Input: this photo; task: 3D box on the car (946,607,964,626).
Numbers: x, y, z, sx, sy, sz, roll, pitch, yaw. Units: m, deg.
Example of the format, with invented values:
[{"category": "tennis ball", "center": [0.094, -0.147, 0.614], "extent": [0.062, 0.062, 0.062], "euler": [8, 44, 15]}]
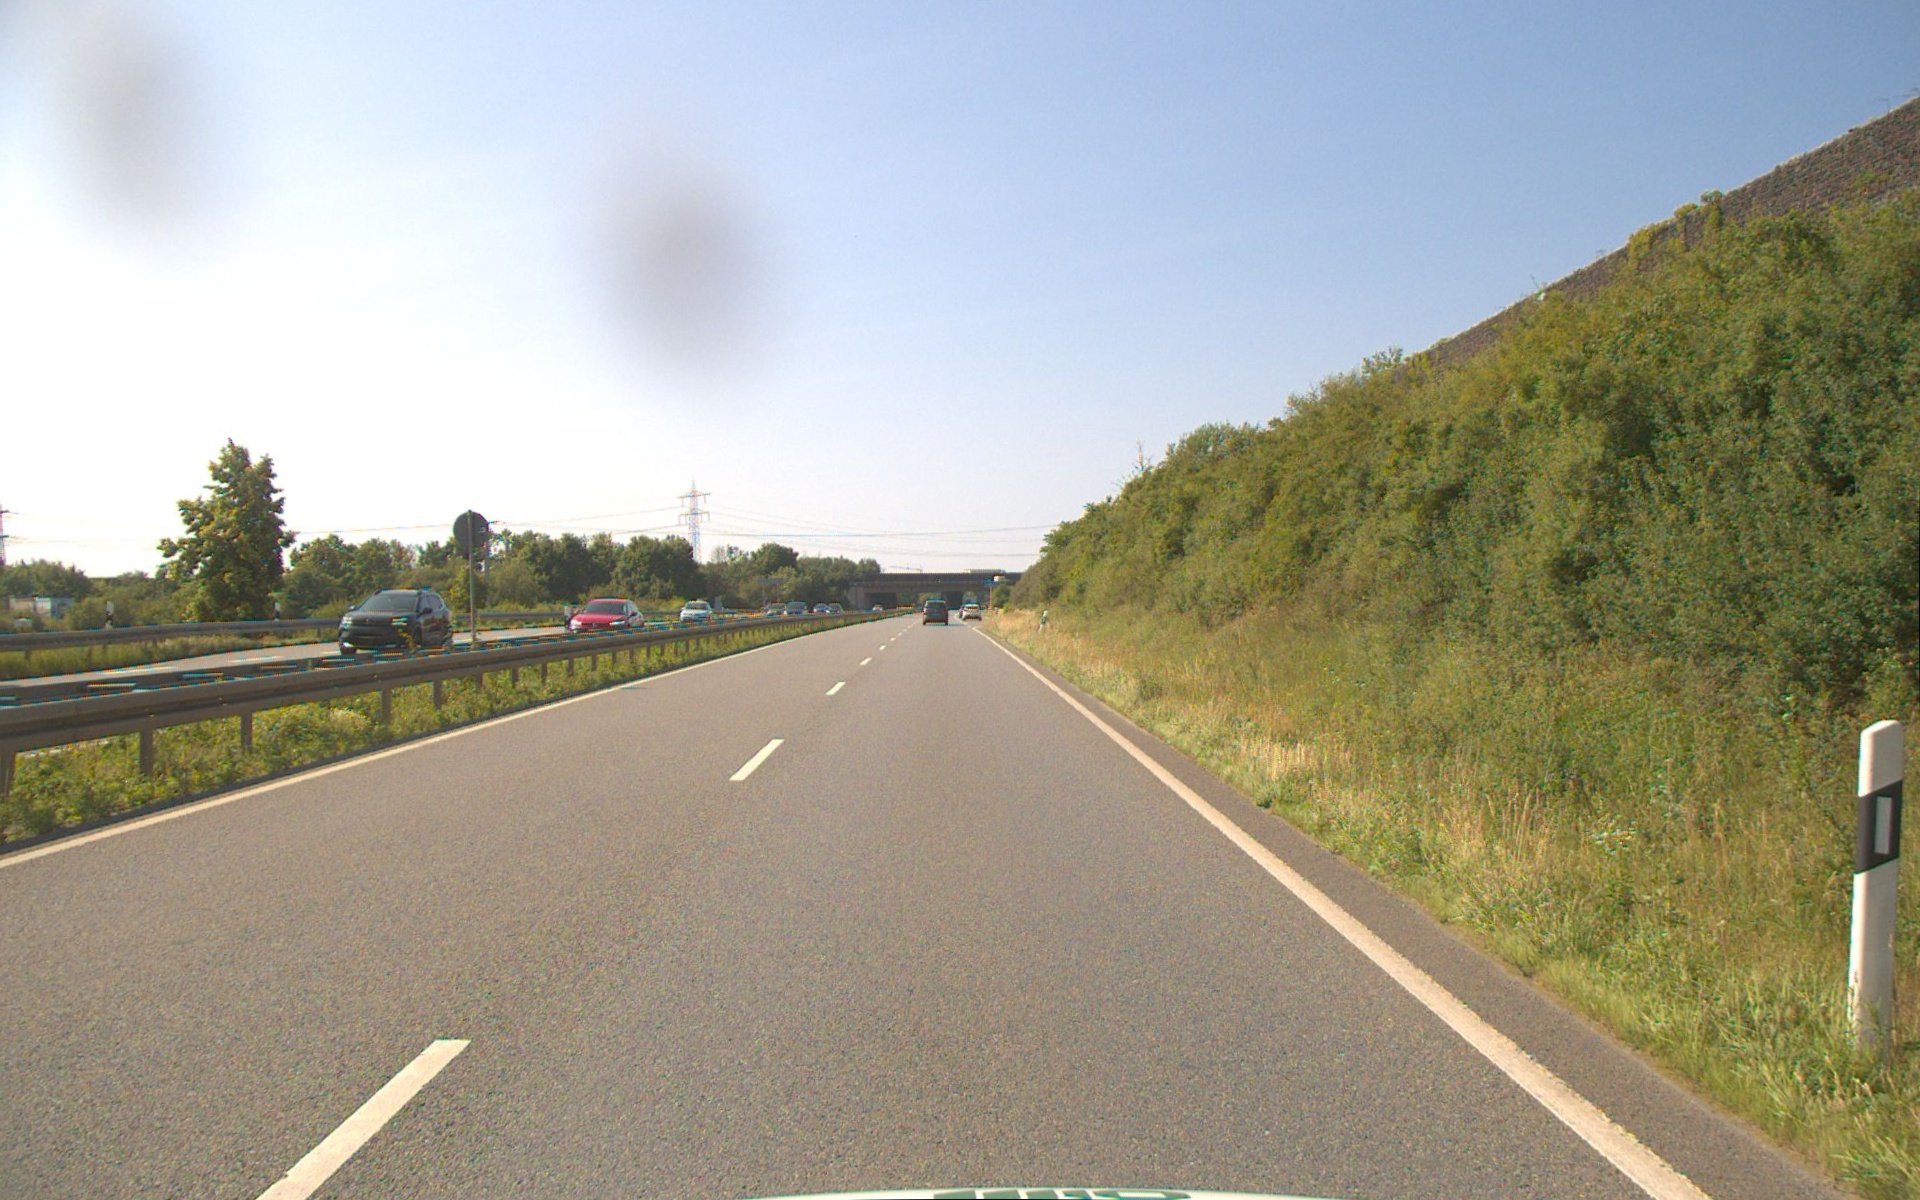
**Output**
[{"category": "car", "center": [-0.566, 1.895, 188.115], "extent": [1.953, 2.049, 3.999], "euler": [2, 0, -1]}]

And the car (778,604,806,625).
[{"category": "car", "center": [-12.552, 1.084, 123.776], "extent": [1.678, 1.496, 4.414], "euler": [2, 0, -1]}]

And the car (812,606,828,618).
[{"category": "car", "center": [-17.788, 1.513, 210.124], "extent": [1.778, 1.499, 4.322], "euler": [2, 0, -1]}]

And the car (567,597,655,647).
[{"category": "car", "center": [-11.372, 0.713, 54.148], "extent": [1.838, 1.519, 5.094], "euler": [1, 0, -1]}]

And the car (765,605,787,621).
[{"category": "car", "center": [-16.941, 1.162, 152.525], "extent": [1.678, 1.476, 4.321], "euler": [0, 0, -2]}]

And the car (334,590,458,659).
[{"category": "car", "center": [-14.164, 0.604, 41.758], "extent": [1.691, 1.623, 4.220], "euler": [1, 0, -1]}]

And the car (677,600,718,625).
[{"category": "car", "center": [-15.872, 0.747, 100.338], "extent": [1.784, 1.420, 4.414], "euler": [2, 0, -1]}]

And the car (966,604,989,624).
[{"category": "car", "center": [1.631, 1.279, 151.222], "extent": [1.758, 1.694, 4.002], "euler": [2, 0, 4]}]

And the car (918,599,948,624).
[{"category": "car", "center": [-1.838, 0.802, 112.798], "extent": [1.811, 1.673, 4.001], "euler": [0, -1, 2]}]
